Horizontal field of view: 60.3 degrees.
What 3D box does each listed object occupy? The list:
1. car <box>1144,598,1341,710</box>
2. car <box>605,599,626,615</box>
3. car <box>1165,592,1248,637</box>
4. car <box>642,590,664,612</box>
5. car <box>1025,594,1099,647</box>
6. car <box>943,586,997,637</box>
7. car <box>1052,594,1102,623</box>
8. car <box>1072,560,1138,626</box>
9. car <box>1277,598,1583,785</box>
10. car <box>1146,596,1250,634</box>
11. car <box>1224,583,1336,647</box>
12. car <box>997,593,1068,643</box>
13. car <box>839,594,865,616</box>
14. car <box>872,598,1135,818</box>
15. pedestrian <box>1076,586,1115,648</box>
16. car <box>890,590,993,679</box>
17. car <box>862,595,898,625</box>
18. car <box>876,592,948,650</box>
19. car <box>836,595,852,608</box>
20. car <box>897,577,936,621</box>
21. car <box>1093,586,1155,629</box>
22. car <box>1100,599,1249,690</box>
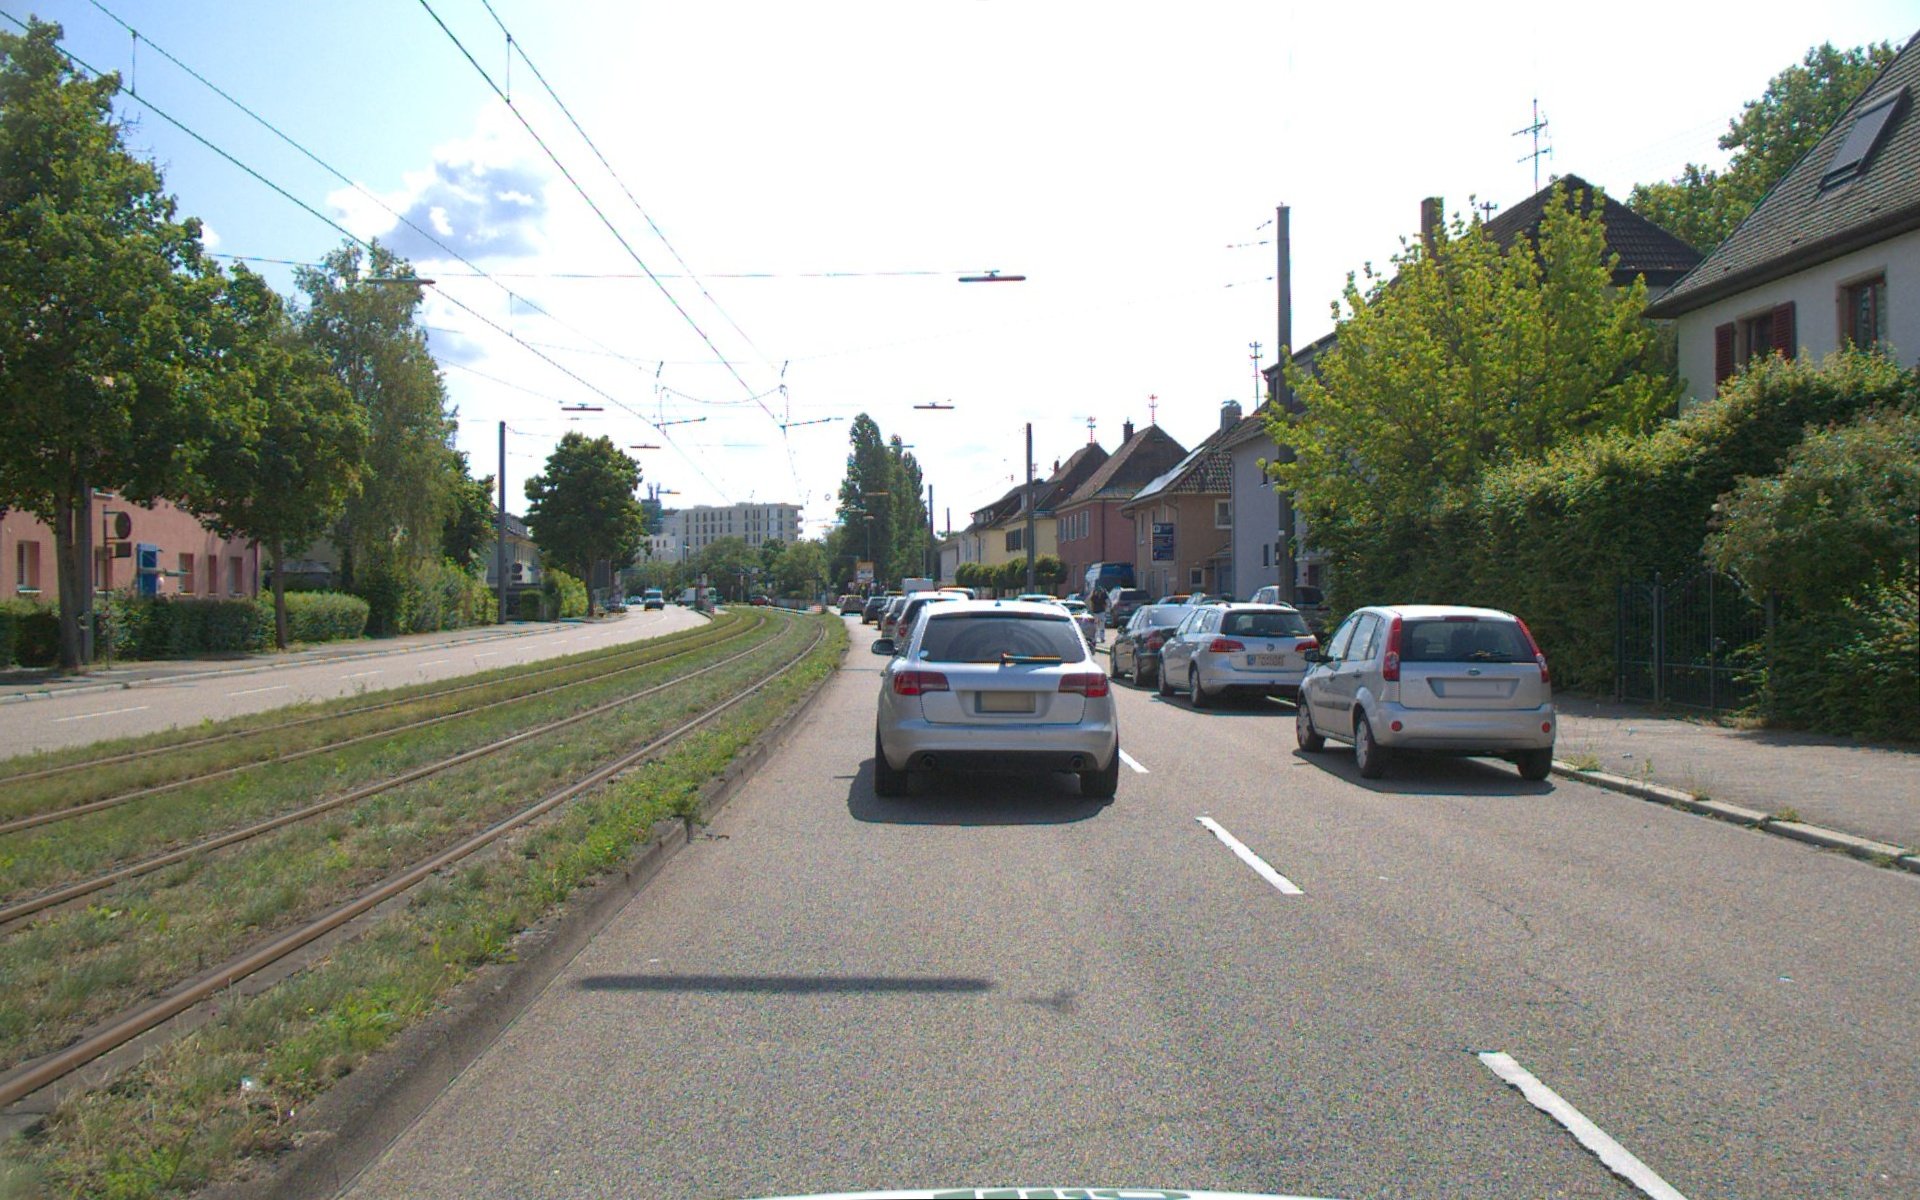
[{"bbox_3d":[4.131,0.758,25.004,1.852,1.481,5.003,1,-1,-3],"label":"car"},{"bbox_3d":[-34.848,0.705,167.485,1.753,1.612,3.923,0,0,-8],"label":"car"},{"bbox_3d":[8.394,0.481,56.693,1.763,1.448,4.853,-1,0,-4],"label":"car"},{"bbox_3d":[-34.438,0.099,185.752,2.155,2.413,5.322,-2,0,-8],"label":"car"},{"bbox_3d":[2.962,0.597,48.844,1.778,1.479,4.642,1,-1,-1],"label":"car"},{"bbox_3d":[0.337,0.397,59.247,1.846,1.761,4.094,-1,0,0],"label":"car"},{"bbox_3d":[6.038,0.455,85.753,1.618,1.434,4.341,-1,0,-9],"label":"car"},{"bbox_3d":[6.855,-0.275,78.911,2.109,2.981,6.238,1,-1,-4],"label":"car"},{"bbox_3d":[4.265,0.773,15.669,1.701,1.515,4.093,1,-1,0],"label":"car"},{"bbox_3d":[8.965,0.557,62.537,3.579,1.404,1.724,0,-1,-7],"label":"car"},{"bbox_3d":[8.971,0.415,46.752,1.723,1.676,4.762,-1,0,-6],"label":"car"},{"bbox_3d":[2.398,0.607,55.862,1.772,1.587,4.248,1,-1,-6],"label":"car"},{"bbox_3d":[-7.883,0.391,120.818,1.847,1.557,4.091,1,-1,-3],"label":"car"},{"bbox_3d":[0.224,0.757,13.782,1.817,1.518,4.534,1,0,-2],"label":"car"},{"bbox_3d":[4.401,0.556,53.819,1.090,1.980,1.091,0,-1,-4],"label":"pedestrian"},{"bbox_3d":[-0.429,0.642,32.833,1.752,1.604,4.091,2,0,-4],"label":"car"},{"bbox_3d":[-4.252,0.541,88.039,1.847,1.557,4.091,1,-1,-3],"label":"car"},{"bbox_3d":[-1.357,0.553,45.240,1.847,1.491,4.092,-1,0,-3],"label":"car"},{"bbox_3d":[-14.117,0.193,201.159,1.847,1.557,4.091,1,-1,-3],"label":"car"},{"bbox_3d":[-2.656,-0.054,99.901,2.001,2.602,5.226,0,0,-5],"label":"car"},{"bbox_3d":[7.148,0.309,72.667,1.801,1.741,4.859,-2,0,-5],"label":"car"},{"bbox_3d":[3.833,0.755,30.431,1.862,1.469,5.055,1,0,-3],"label":"car"}]
